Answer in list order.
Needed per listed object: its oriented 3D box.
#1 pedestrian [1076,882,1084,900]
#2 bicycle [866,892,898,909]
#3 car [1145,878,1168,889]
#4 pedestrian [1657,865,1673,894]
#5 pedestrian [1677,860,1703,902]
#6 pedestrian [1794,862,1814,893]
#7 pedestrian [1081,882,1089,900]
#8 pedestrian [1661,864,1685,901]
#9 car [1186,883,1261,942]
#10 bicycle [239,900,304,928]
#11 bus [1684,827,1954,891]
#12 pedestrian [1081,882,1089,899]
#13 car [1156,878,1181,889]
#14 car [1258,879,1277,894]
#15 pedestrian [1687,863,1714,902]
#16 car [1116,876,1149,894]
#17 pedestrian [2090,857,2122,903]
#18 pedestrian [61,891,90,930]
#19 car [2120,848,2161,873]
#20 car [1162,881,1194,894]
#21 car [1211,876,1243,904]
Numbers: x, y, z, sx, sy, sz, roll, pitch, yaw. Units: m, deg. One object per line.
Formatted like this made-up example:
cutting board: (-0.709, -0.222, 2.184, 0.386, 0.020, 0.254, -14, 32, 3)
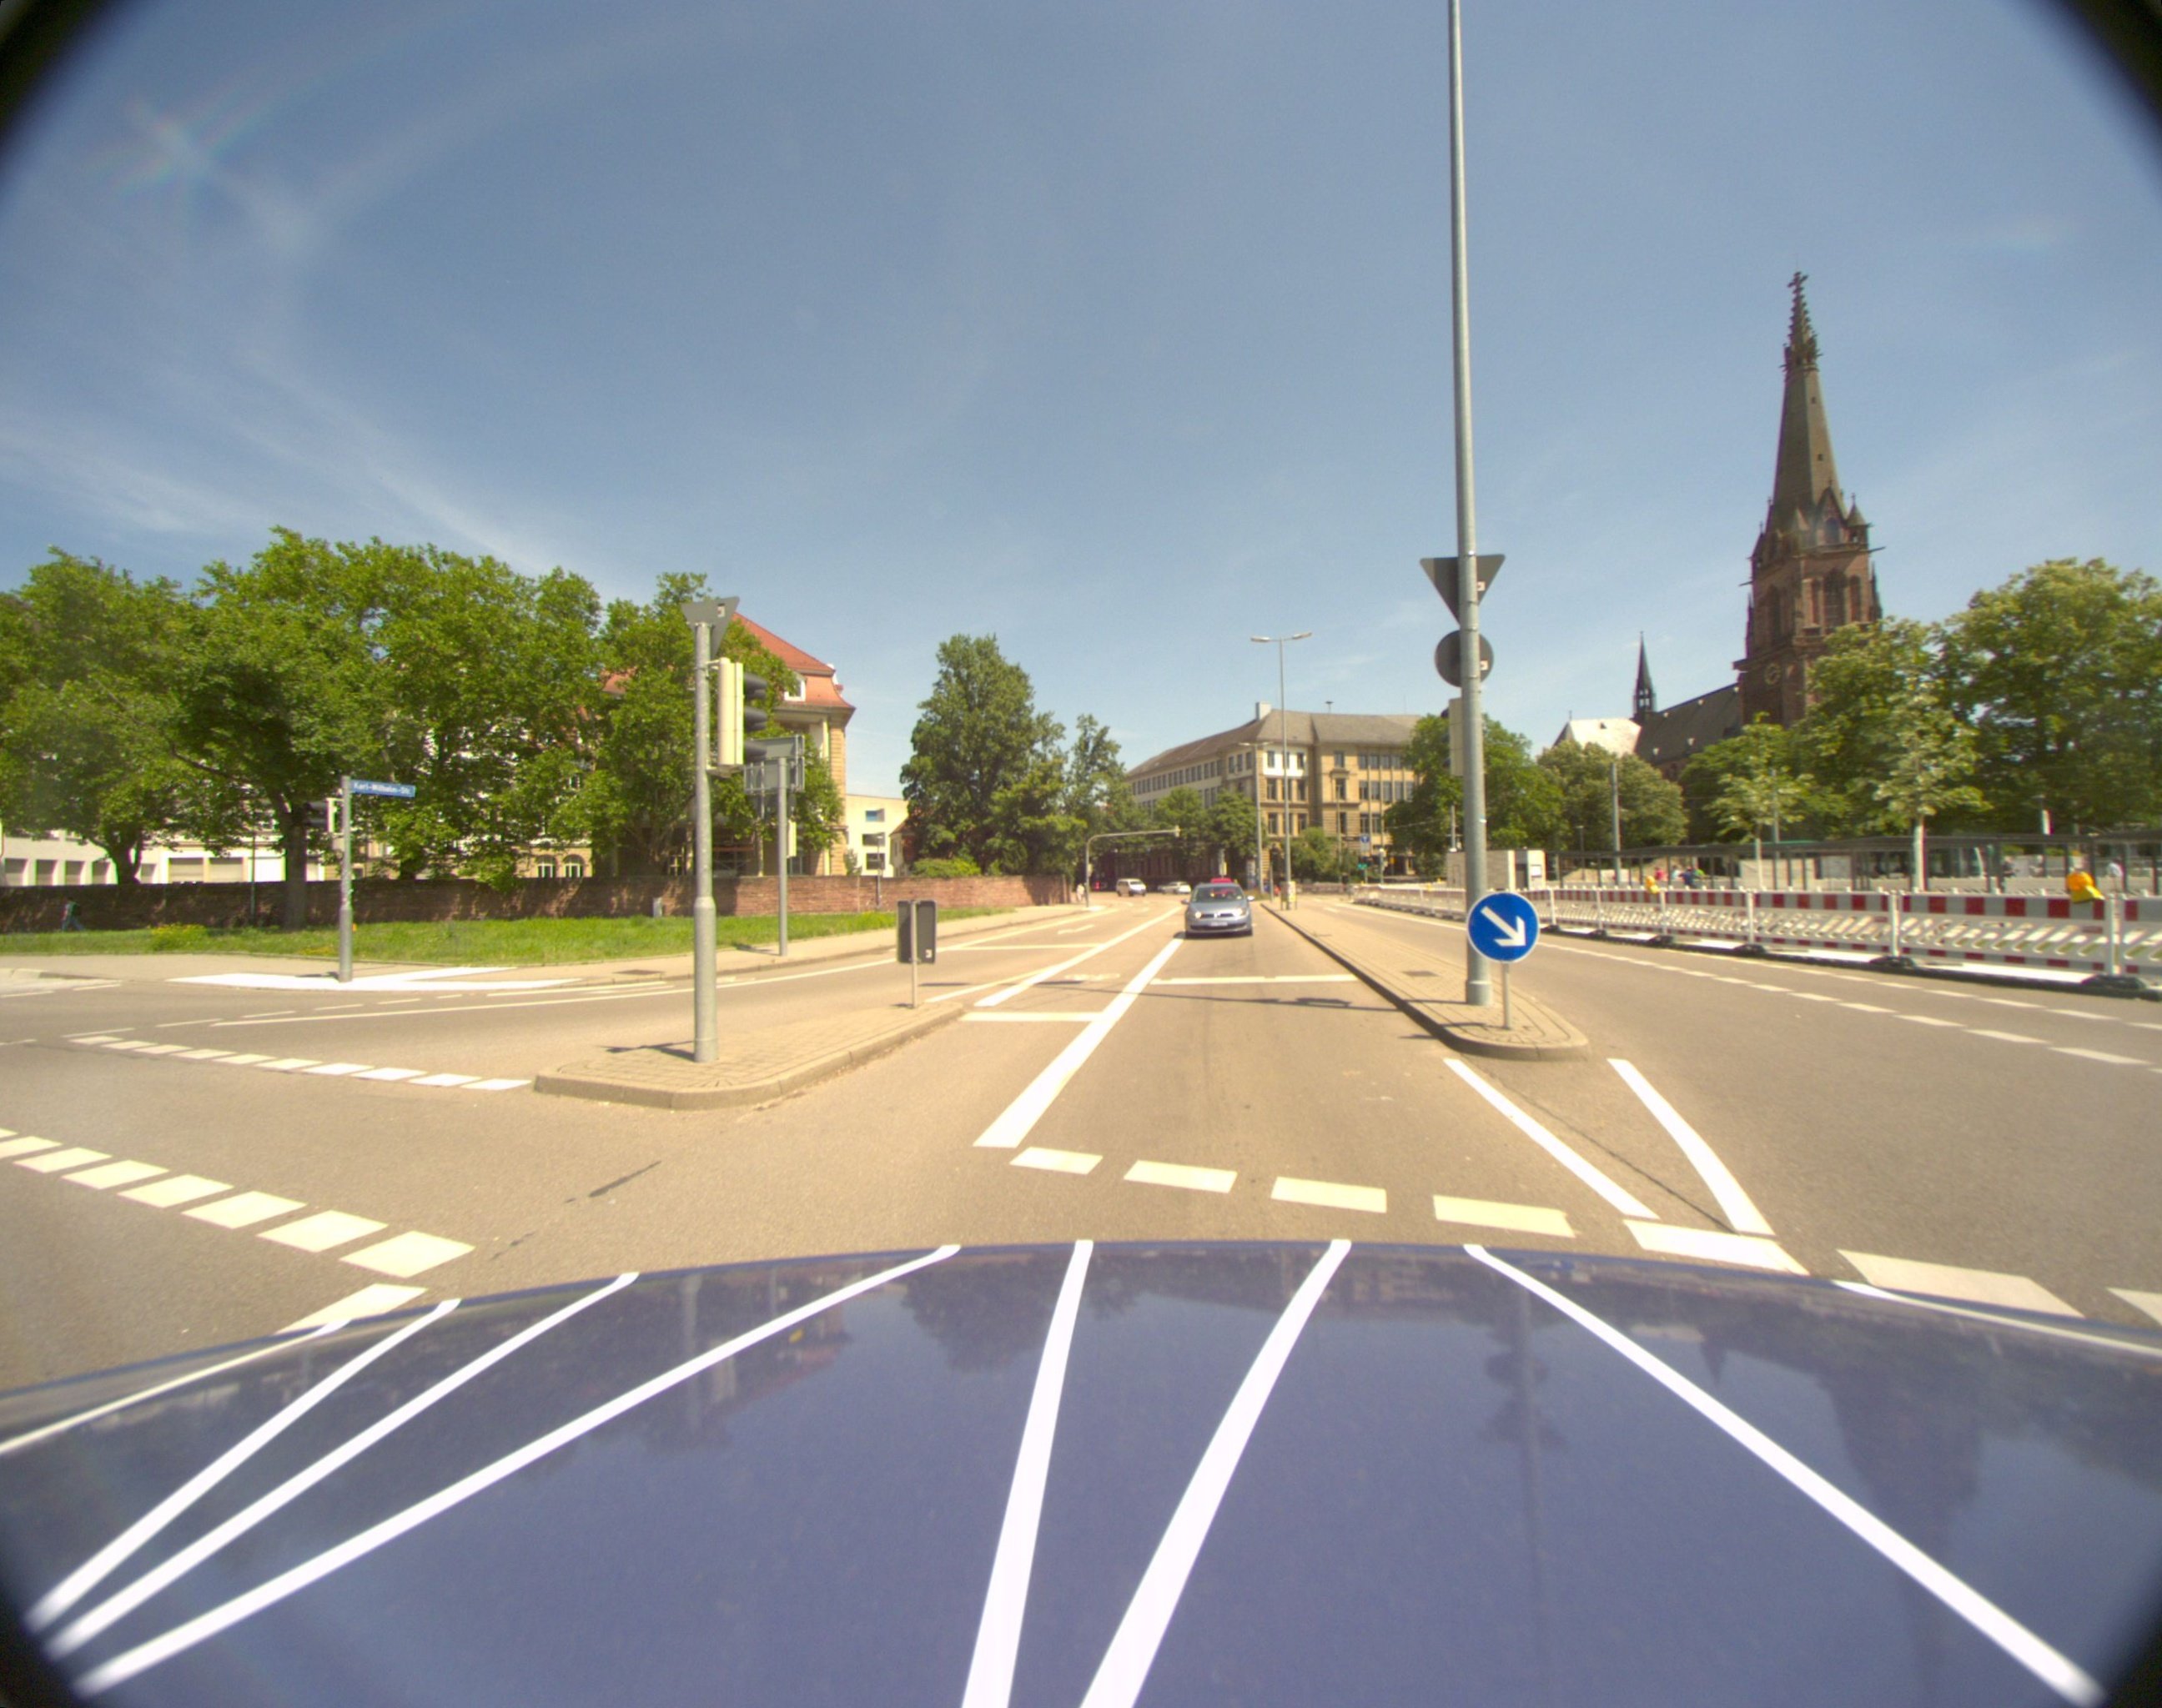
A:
pedestrian: (-0.076, 3.343, 68.741, 0.605, 1.601, 0.557, 2, -3, -20)
bicycle: (-12.218, 2.881, 46.705, 1.778, 0.922, 0.678, -2, -2, -34)
car: (11.160, 4.395, 112.617, 3.156, 1.453, 1.568, -1, -2, -41)
pedestrian: (34.494, 1.518, 44.875, 0.582, 1.690, 0.564, -2, -2, -43)
pedestrian: (27.956, 1.250, 34.871, 0.694, 1.894, 0.576, -2, -2, -25)
pedestrian: (38.338, 1.227, 40.297, 0.538, 1.610, 0.519, -2, -2, -28)
pedestrian: (0.402, 3.542, 73.018, 0.605, 1.701, 0.557, 2, -3, -22)
pedestrian: (28.338, 1.377, 36.367, 0.541, 1.745, 0.658, -2, -2, -34)
car: (4.007, 1.575, 21.280, 1.830, 1.405, 3.999, -1, -1, 11)
bicycle: (-38.901, 2.875, 36.523, 2.171, 1.175, 0.457, -3, -2, -17)
bus: (41.231, 0.464, 43.251, 2.858, 3.034, 10.588, -2, -2, -22)
pedestrian: (0.368, 3.437, 71.526, 0.605, 1.601, 0.557, 2, -3, -20)
car: (12.766, 4.348, 110.776, 3.559, 1.411, 1.568, -2, -2, -40)
car: (18.200, 3.115, 74.203, 1.691, 1.369, 4.018, 0, -1, 11)
pedestrian: (28.916, 1.313, 35.478, 0.646, 1.778, 0.637, -2, -2, -25)
car: (5.950, 3.634, 88.305, 1.711, 1.851, 4.253, -2, -2, -28)
pedestrian: (42.685, 1.086, 31.636, 0.700, 1.846, 0.605, -2, -2, -28)
pedestrian: (-45.248, 2.528, 34.197, 0.527, 1.710, 0.589, -3, -2, -13)
car: (73.779, 0.390, 51.079, 1.782, 1.592, 4.245, -3, -2, -3)
car: (11.772, 4.065, 92.511, 1.824, 1.419, 4.419, 1, -2, -22)
car: (10.252, 2.509, 53.255, 1.831, 1.755, 4.285, -4, -2, 14)
